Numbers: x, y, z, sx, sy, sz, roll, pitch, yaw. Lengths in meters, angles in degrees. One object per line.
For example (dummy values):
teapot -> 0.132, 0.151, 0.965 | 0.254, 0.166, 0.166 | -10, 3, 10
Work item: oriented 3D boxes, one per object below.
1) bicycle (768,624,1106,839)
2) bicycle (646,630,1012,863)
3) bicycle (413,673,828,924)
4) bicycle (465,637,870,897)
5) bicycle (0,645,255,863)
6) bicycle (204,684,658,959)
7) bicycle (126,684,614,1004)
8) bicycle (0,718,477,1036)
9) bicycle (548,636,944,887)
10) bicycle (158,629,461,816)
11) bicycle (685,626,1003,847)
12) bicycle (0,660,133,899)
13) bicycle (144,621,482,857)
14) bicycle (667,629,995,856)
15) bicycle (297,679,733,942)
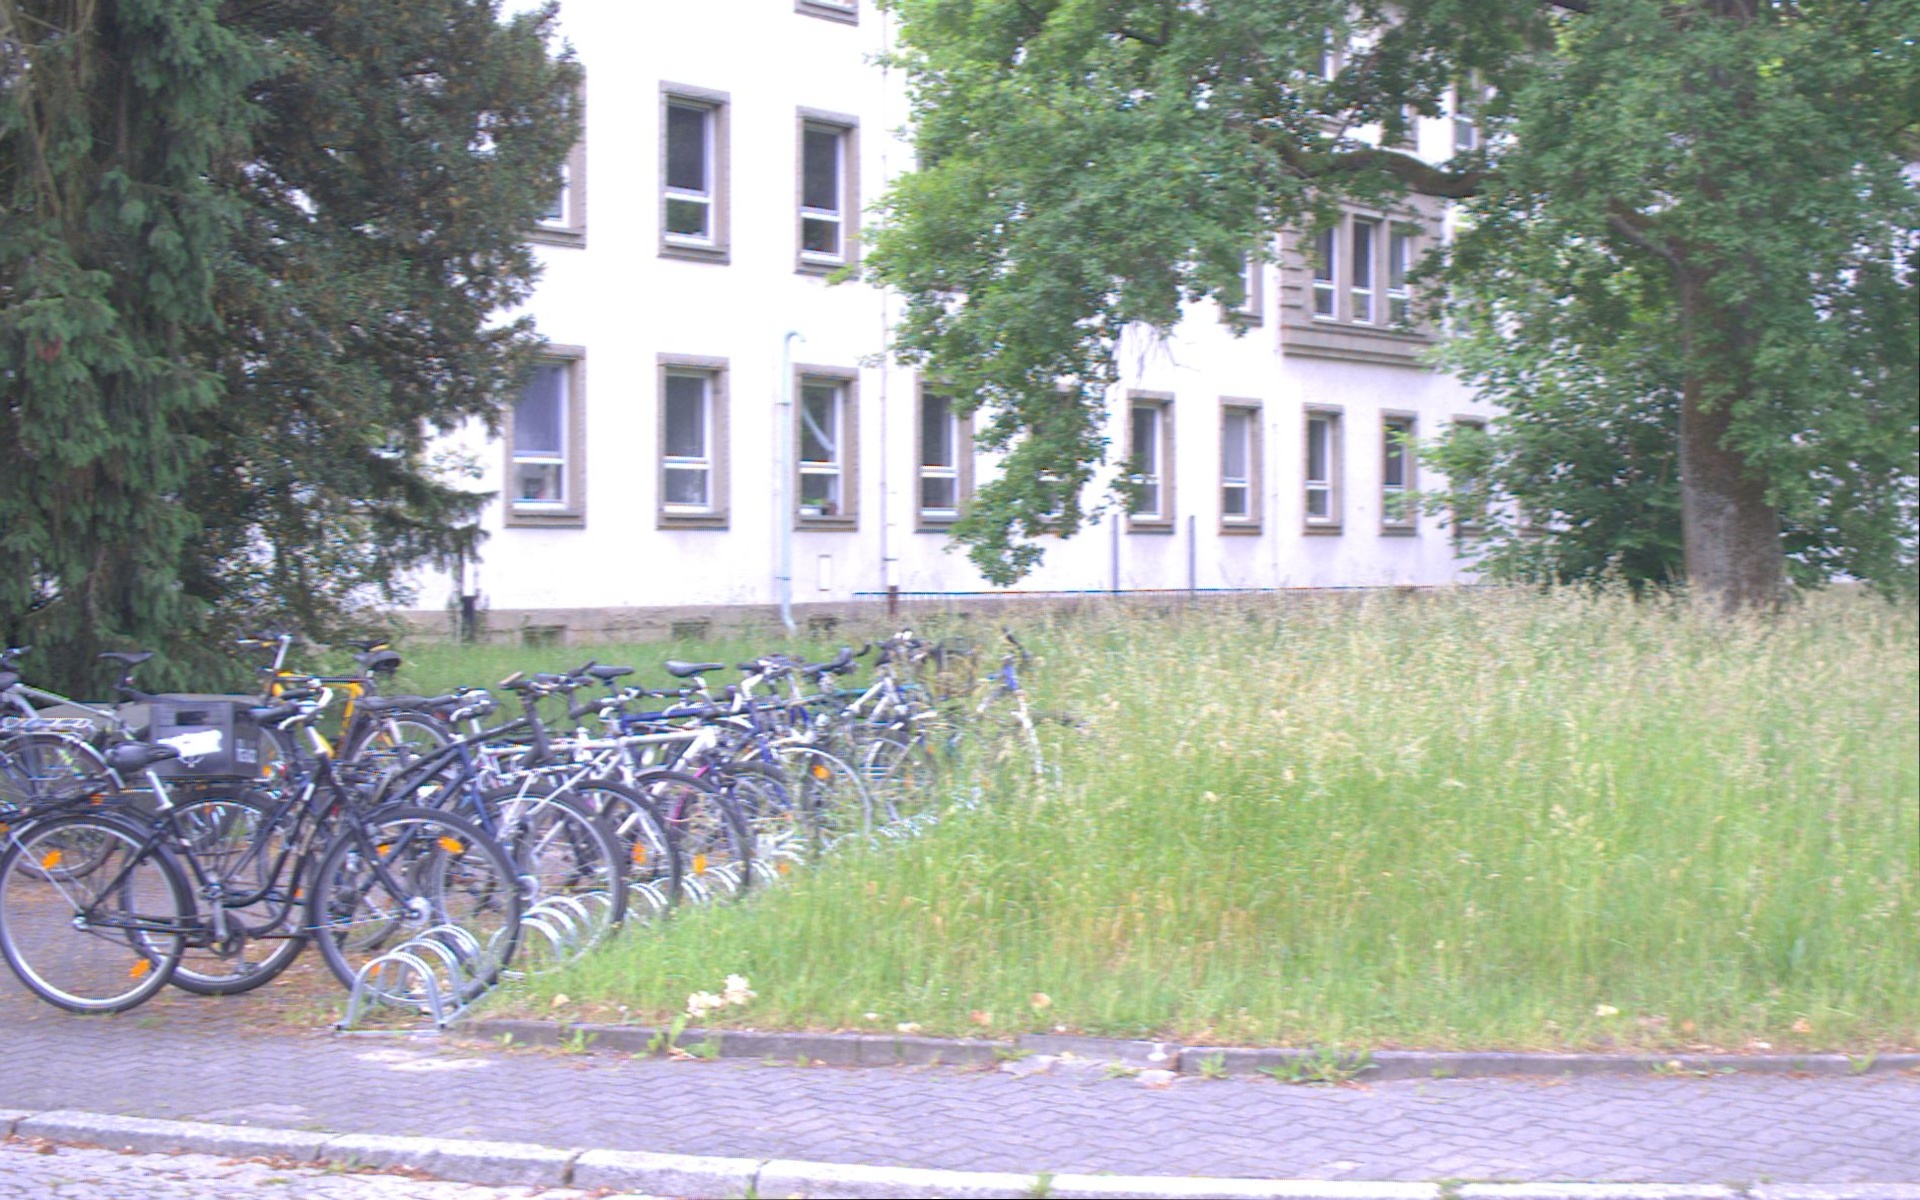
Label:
bicycle -> -0.127, 0.695, 18.541 | 1.761, 1.108, 0.477 | 0, 1, 17
bicycle -> -0.653, 0.711, 17.108 | 1.761, 1.108, 0.477 | 0, 1, 17
bicycle -> -1.429, 0.829, 14.454 | 1.663, 1.004, 0.477 | -1, 0, 17
bicycle -> -1.312, 0.730, 15.416 | 1.761, 1.108, 0.477 | 0, 1, 17
bicycle -> -4.514, 0.767, 17.442 | 1.749, 1.061, 0.551 | 0, 1, 8
bicycle -> -2.030, 0.842, 13.193 | 1.663, 1.004, 0.477 | -1, 0, 17
bicycle -> -2.077, 0.855, 12.179 | 1.617, 1.070, 0.478 | -1, 0, 3
bicycle -> -2.489, 0.926, 11.603 | 1.617, 1.004, 0.478 | -1, 0, 3
bicycle -> -0.982, 0.728, 15.838 | 1.760, 1.108, 0.477 | 0, 1, 12
bicycle -> -3.785, 0.696, 19.996 | 1.679, 1.038, 0.551 | 0, 1, 19
bicycle -> -0.617, 0.702, 18.135 | 1.648, 1.108, 0.441 | 0, 1, 23
bicycle -> -4.838, 0.818, 15.998 | 1.820, 1.061, 0.618 | 0, 1, 8
bicycle -> -3.393, 0.706, 17.999 | 1.751, 1.167, 0.551 | 0, 1, 26
bicycle -> -0.666, 0.711, 17.578 | 1.648, 1.108, 0.441 | 0, 1, 23
bicycle -> -1.784, 0.836, 13.764 | 1.663, 1.004, 0.477 | -1, 0, 17
